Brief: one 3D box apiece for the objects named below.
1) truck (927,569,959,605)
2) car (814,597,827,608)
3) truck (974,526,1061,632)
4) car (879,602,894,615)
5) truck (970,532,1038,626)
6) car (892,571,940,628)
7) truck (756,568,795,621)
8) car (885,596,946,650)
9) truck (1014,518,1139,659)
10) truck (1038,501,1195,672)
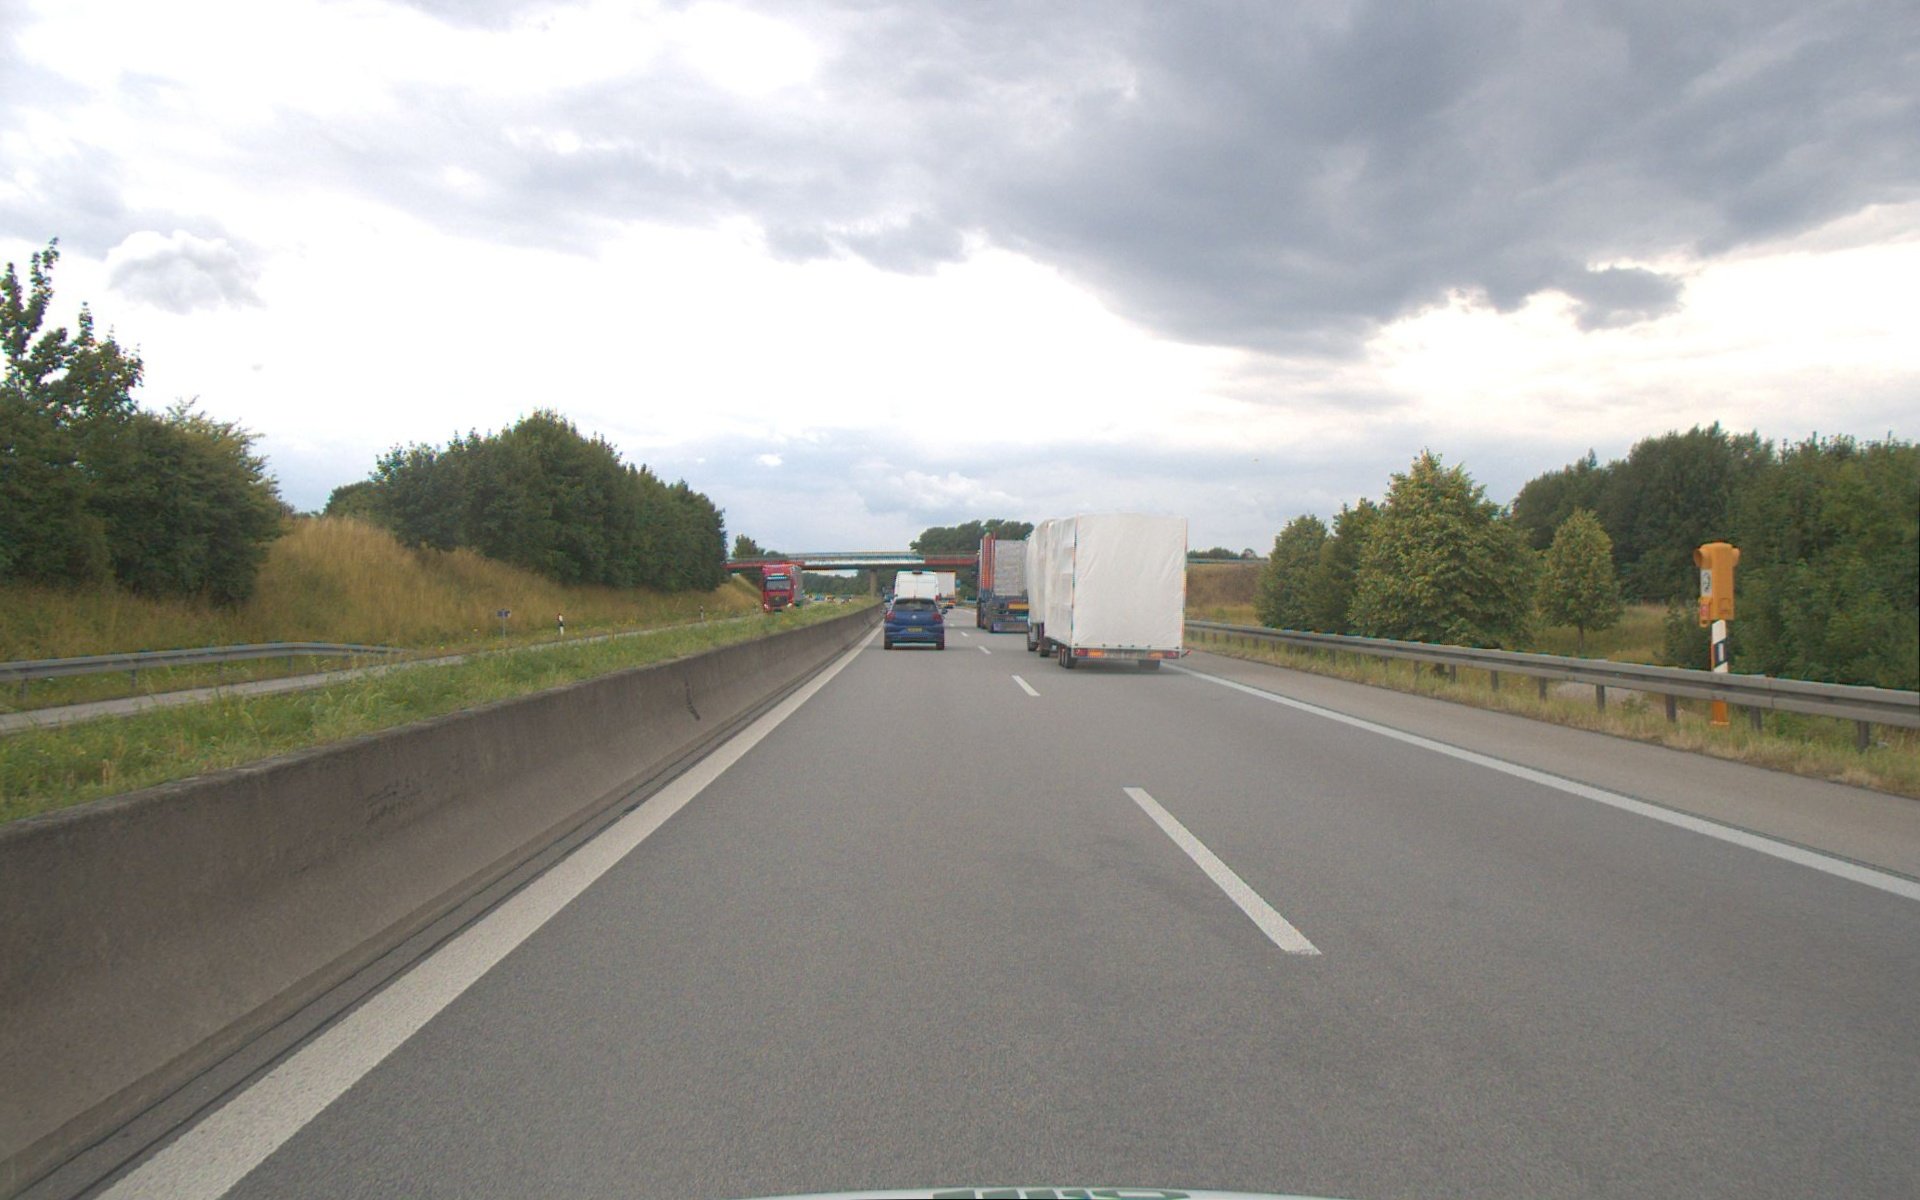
[{"bbox_3d":[-1.917,-1.374,183.564,3.049,3.754,9.317,-2,0,-3],"label":"truck"},{"bbox_3d":[-18.395,0.357,218.499,1.613,1.434,3.885,-2,0,-3],"label":"car"},{"bbox_3d":[2.275,-0.895,70.081,2.620,4.116,11.100,0,1,-3],"label":"truck"},{"bbox_3d":[-9.742,1.130,219.785,1.953,1.713,3.998,0,0,-3],"label":"car"},{"bbox_3d":[1.960,-0.953,75.475,2.620,4.116,5.508,0,1,-4],"label":"truck"},{"bbox_3d":[-2.035,-0.028,75.373,2.087,2.526,5.836,0,0,-2],"label":"car"},{"bbox_3d":[-15.052,-0.493,135.096,2.652,4.160,5.162,-2,0,-2],"label":"truck"},{"bbox_3d":[-1.262,0.611,46.481,1.630,1.431,3.647,0,0,-2],"label":"car"},{"bbox_3d":[2.856,-0.279,42.469,2.381,3.300,7.243,0,0,-3],"label":"truck"},{"bbox_3d":[3.175,-0.260,35.282,2.367,3.278,7.140,0,0,-3],"label":"truck"}]
